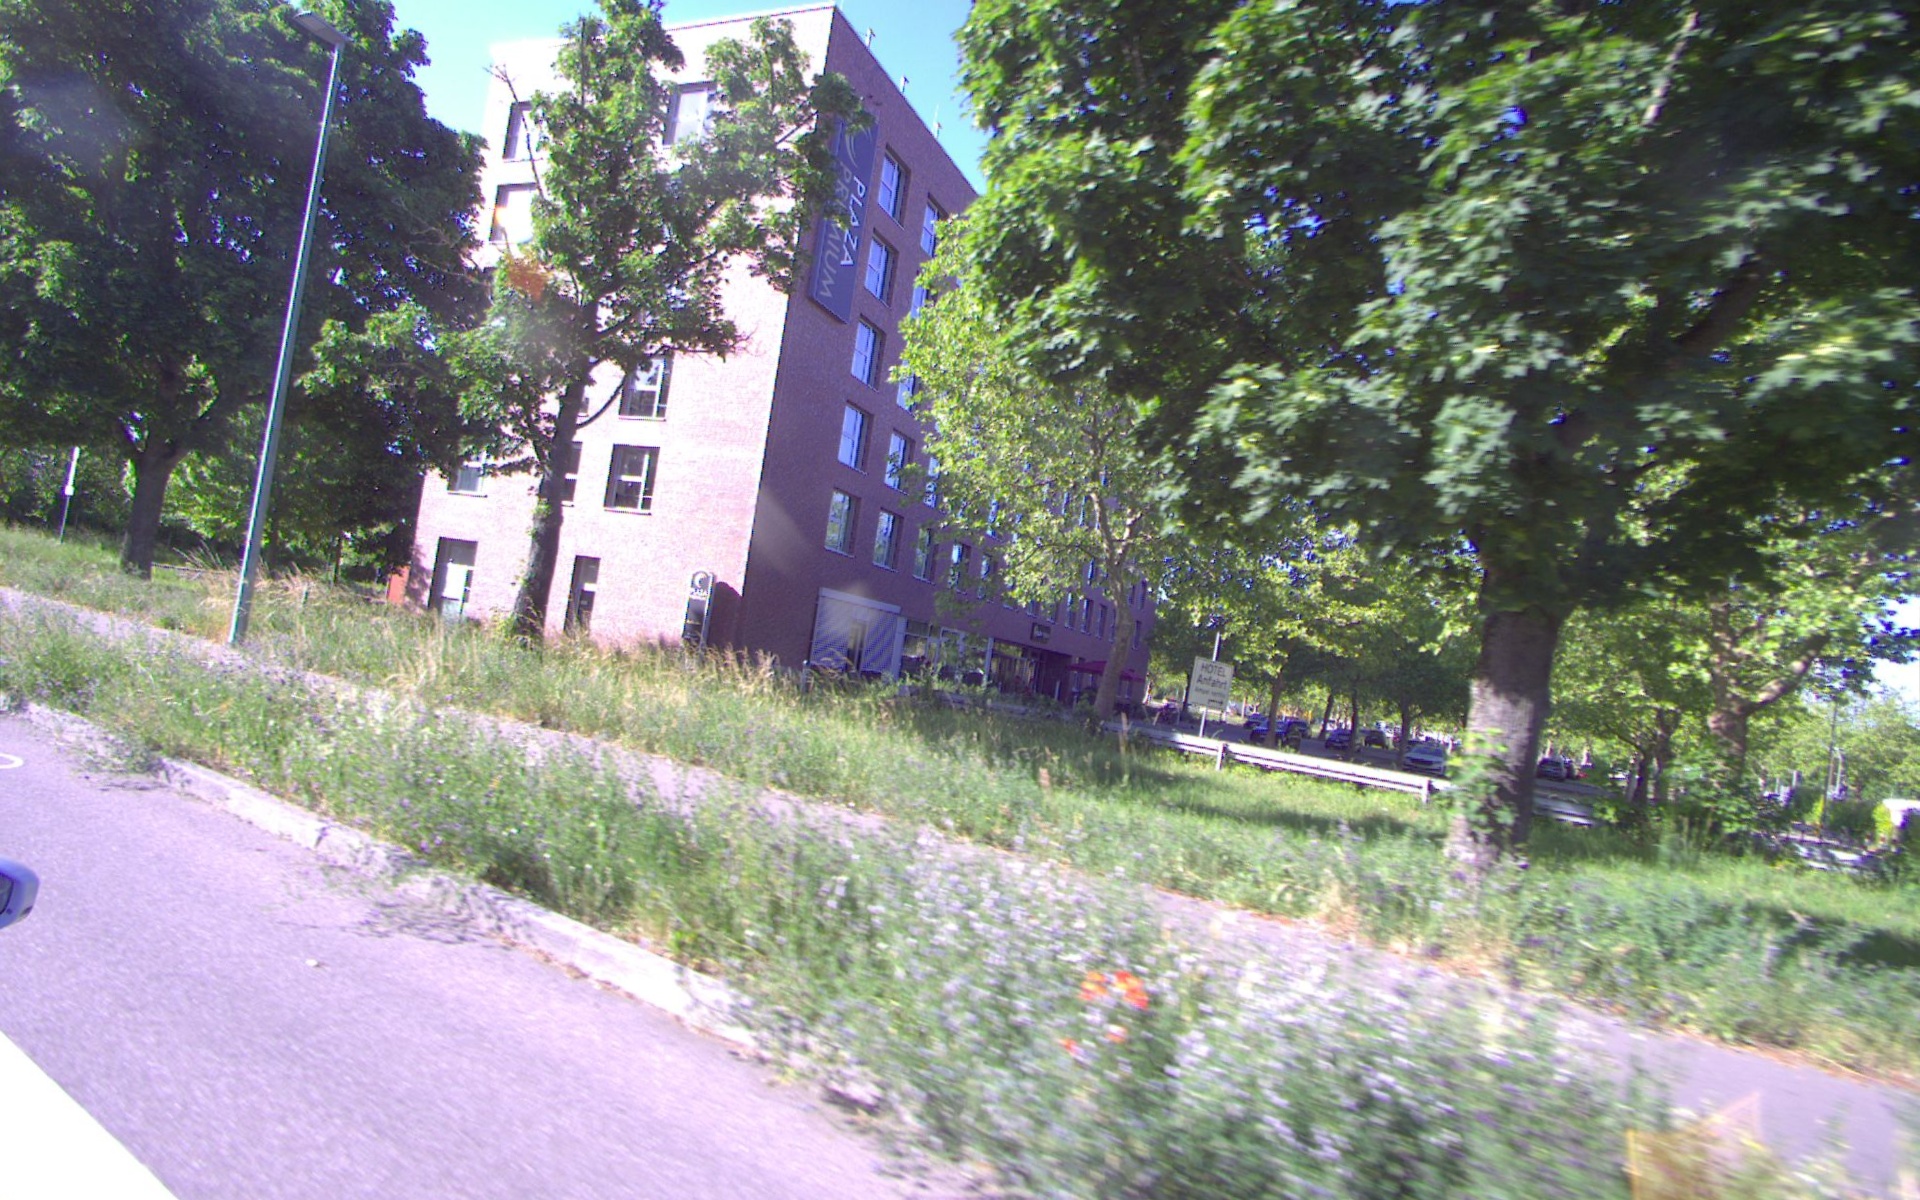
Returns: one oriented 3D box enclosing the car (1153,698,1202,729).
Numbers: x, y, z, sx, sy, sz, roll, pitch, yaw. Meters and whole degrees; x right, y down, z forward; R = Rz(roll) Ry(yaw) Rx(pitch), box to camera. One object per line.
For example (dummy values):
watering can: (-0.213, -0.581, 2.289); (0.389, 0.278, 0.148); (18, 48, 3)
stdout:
car: (13.785, 7.193, 63.540); (1.841, 1.507, 4.002); (7, -4, 28)

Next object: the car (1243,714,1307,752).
car: (16.691, 7.049, 53.200); (1.846, 1.507, 3.991); (6, -5, 39)

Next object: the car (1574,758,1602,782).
car: (55.491, 15.022, 88.885); (1.803, 1.691, 4.227); (6, -5, 35)

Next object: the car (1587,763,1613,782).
car: (61.979, 16.722, 97.473); (1.801, 1.477, 4.232); (7, -5, 30)

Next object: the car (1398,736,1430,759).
car: (36.223, 11.759, 80.151); (1.801, 1.477, 4.232); (7, -5, 30)

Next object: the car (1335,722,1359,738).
car: (43.962, 14.794, 114.301); (1.801, 1.477, 4.232); (7, -5, 30)

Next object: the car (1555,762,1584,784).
car: (51.163, 14.503, 84.526); (1.801, 1.477, 4.232); (7, -5, 30)

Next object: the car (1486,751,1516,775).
car: (41.518, 12.475, 77.118); (1.801, 1.477, 4.232); (7, -5, 30)

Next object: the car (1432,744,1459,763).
car: (43.478, 13.762, 89.986); (1.801, 1.304, 4.232); (7, -5, 30)

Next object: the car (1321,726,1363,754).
car: (25.453, 9.363, 66.948); (1.801, 1.477, 4.232); (7, -5, 30)

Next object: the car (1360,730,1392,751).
car: (38.048, 12.898, 91.997); (1.843, 1.507, 3.996); (6, -4, 34)

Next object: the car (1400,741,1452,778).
car: (22.755, 7.791, 49.000); (1.801, 1.413, 4.527); (7, -5, 30)

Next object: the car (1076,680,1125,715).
car: (9.074, 6.325, 64.742); (1.839, 1.847, 4.005); (7, -4, 24)

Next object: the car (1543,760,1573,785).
car: (44.603, 12.817, 74.999); (1.708, 1.507, 3.998); (7, -4, 33)
